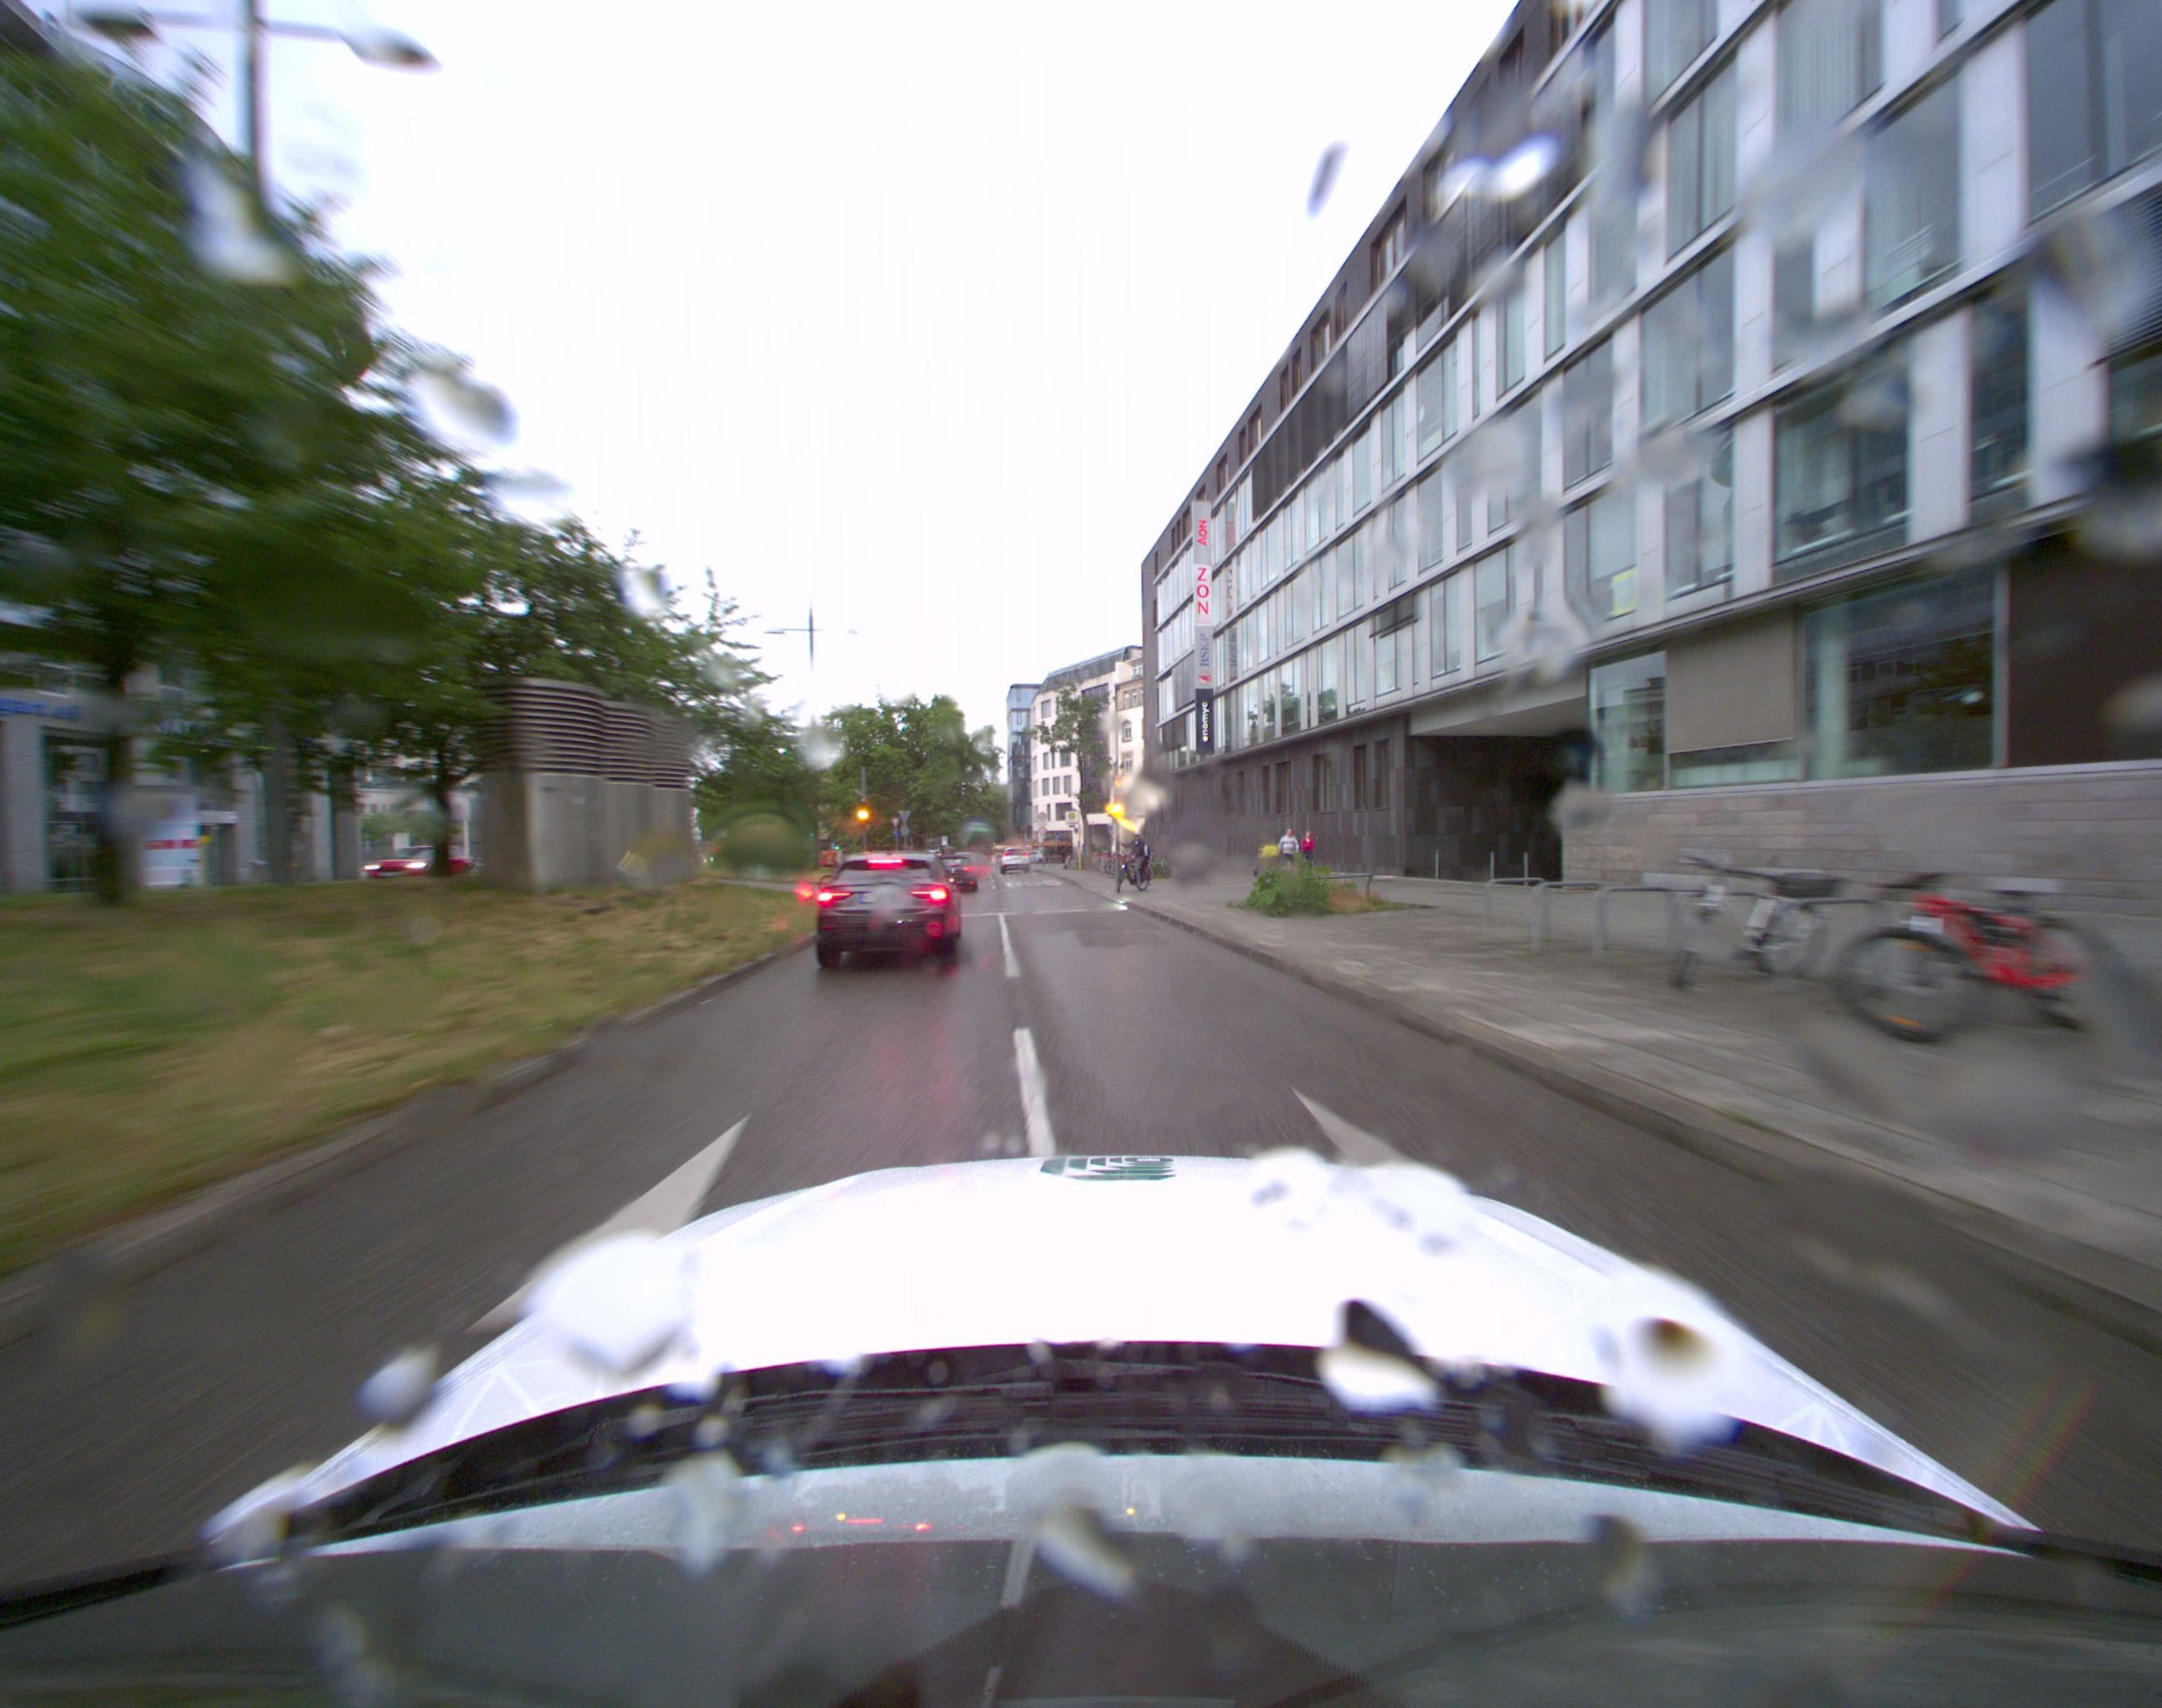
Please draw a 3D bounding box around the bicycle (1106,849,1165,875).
[{"bbox_3d":[2.472,0.361,36.863,2.535,1.087,0.675,-2,0,-9],"label":"bicycle"}]

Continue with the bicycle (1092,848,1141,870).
[{"bbox_3d":[1.924,0.267,44.039,2.535,1.087,0.675,-2,0,-9],"label":"bicycle"}]

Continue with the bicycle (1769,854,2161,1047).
[{"bbox_3d":[5.941,0.596,5.460,1.978,1.104,0.808,-2,1,-1],"label":"bicycle"}]

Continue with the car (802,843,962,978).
[{"bbox_3d":[-2.747,0.656,12.162,1.846,1.616,4.241,-1,1,-8],"label":"car"}]

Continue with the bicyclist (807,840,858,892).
[{"bbox_3d":[-7.845,0.374,25.775,1.124,1.582,1.019,1,0,14],"label":"bicyclist"}]

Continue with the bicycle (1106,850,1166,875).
[{"bbox_3d":[2.399,0.382,35.629,2.535,1.087,0.675,0,0,-9],"label":"bicycle"}]

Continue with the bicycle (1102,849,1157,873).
[{"bbox_3d":[2.344,0.337,39.389,2.535,1.060,0.675,-2,0,-9],"label":"bicycle"}]

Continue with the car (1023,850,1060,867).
[{"bbox_3d":[-4.535,0.492,93.232,3.989,1.647,1.992,3,0,-12],"label":"car"}]

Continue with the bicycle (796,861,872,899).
[{"bbox_3d":[-7.806,0.820,25.770,2.045,1.114,1.016,1,0,15],"label":"bicycle"}]

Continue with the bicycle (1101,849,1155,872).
[{"bbox_3d":[2.309,0.316,40.296,2.535,1.087,0.675,-2,0,-9],"label":"bicycle"}]

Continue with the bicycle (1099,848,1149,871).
[{"bbox_3d":[2.239,0.286,42.469,2.535,1.087,0.675,-2,0,-9],"label":"bicycle"}]

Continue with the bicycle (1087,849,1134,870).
[{"bbox_3d":[1.641,0.304,45.655,2.535,1.087,0.675,-2,0,-9],"label":"bicycle"}]

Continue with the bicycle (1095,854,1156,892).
[{"bbox_3d":[1.476,0.592,26.593,0.753,1.145,2.146,-2,0,44],"label":"bicycle"}]

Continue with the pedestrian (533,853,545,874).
[{"bbox_3d":[-48.025,0.838,72.191,0.622,1.763,0.721,-4,1,-20],"label":"pedestrian"}]

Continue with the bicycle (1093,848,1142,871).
[{"bbox_3d":[1.942,0.288,43.286,2.535,1.087,0.675,-2,0,-9],"label":"bicycle"}]

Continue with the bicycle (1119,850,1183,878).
[{"bbox_3d":[2.861,0.413,33.381,2.535,1.057,0.675,-2,0,-9],"label":"bicycle"}]

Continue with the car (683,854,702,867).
[{"bbox_3d":[-45.447,0.762,95.320,1.813,1.486,3.968,0,0,-25],"label":"car"}]

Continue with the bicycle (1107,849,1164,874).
[{"bbox_3d":[2.511,0.346,37.722,2.535,1.087,0.675,-2,0,-9],"label":"bicycle"}]

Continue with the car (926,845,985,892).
[{"bbox_3d":[-4.935,0.512,32.439,2.160,1.706,4.542,-1,1,-7],"label":"car"}]

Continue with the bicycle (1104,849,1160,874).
[{"bbox_3d":[2.398,0.339,38.525,2.535,1.087,0.675,-2,0,-9],"label":"bicycle"}]

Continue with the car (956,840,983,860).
[{"bbox_3d":[-9.792,-0.346,71.383,1.948,1.646,3.980,-1,1,-14],"label":"car"}]

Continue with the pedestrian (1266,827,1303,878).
[{"bbox_3d":[7.606,-0.058,30.429,0.900,1.791,1.043,-4,1,-9],"label":"pedestrian"}]

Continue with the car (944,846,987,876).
[{"bbox_3d":[-6.867,0.370,47.912,1.949,1.646,4.222,-1,1,-16],"label":"car"}]

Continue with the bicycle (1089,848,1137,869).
[{"bbox_3d":[1.738,0.255,44.914,2.535,1.087,0.675,-2,0,-9],"label":"bicycle"}]

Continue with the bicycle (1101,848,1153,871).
[{"bbox_3d":[2.318,0.292,41.496,2.535,1.087,0.675,-2,0,-9],"label":"bicycle"}]

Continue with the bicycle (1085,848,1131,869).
[{"bbox_3d":[1.555,0.271,46.372,2.535,1.087,0.625,-2,0,-9],"label":"bicycle"}]

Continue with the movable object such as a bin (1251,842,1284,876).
[{"bbox_3d":[7.253,0.187,31.742,0.730,1.264,1.441,-4,1,-7],"label":"movable object such as a bin"}]

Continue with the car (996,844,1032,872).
[{"bbox_3d":[-4.316,0.226,52.207,2.176,1.700,3.992,-1,1,-6],"label":"car"}]

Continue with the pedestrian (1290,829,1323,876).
[{"bbox_3d":[8.502,-0.075,30.694,0.718,1.690,1.096,-4,1,-9],"label":"pedestrian"}]

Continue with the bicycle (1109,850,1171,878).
[{"bbox_3d":[2.532,0.413,34.835,2.535,1.087,0.675,-2,0,-9],"label":"bicycle"}]

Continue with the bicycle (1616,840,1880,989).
[{"bbox_3d":[5.943,0.511,7.317,1.831,1.197,0.660,-3,1,-1],"label":"bicycle"}]

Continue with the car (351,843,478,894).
[{"bbox_3d":[-24.016,0.477,29.535,1.947,1.700,3.982,-1,1,-13],"label":"car"}]

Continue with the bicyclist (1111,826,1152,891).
[{"bbox_3d":[1.671,0.133,26.821,0.753,2.083,1.091,-2,0,44],"label":"bicyclist"}]
